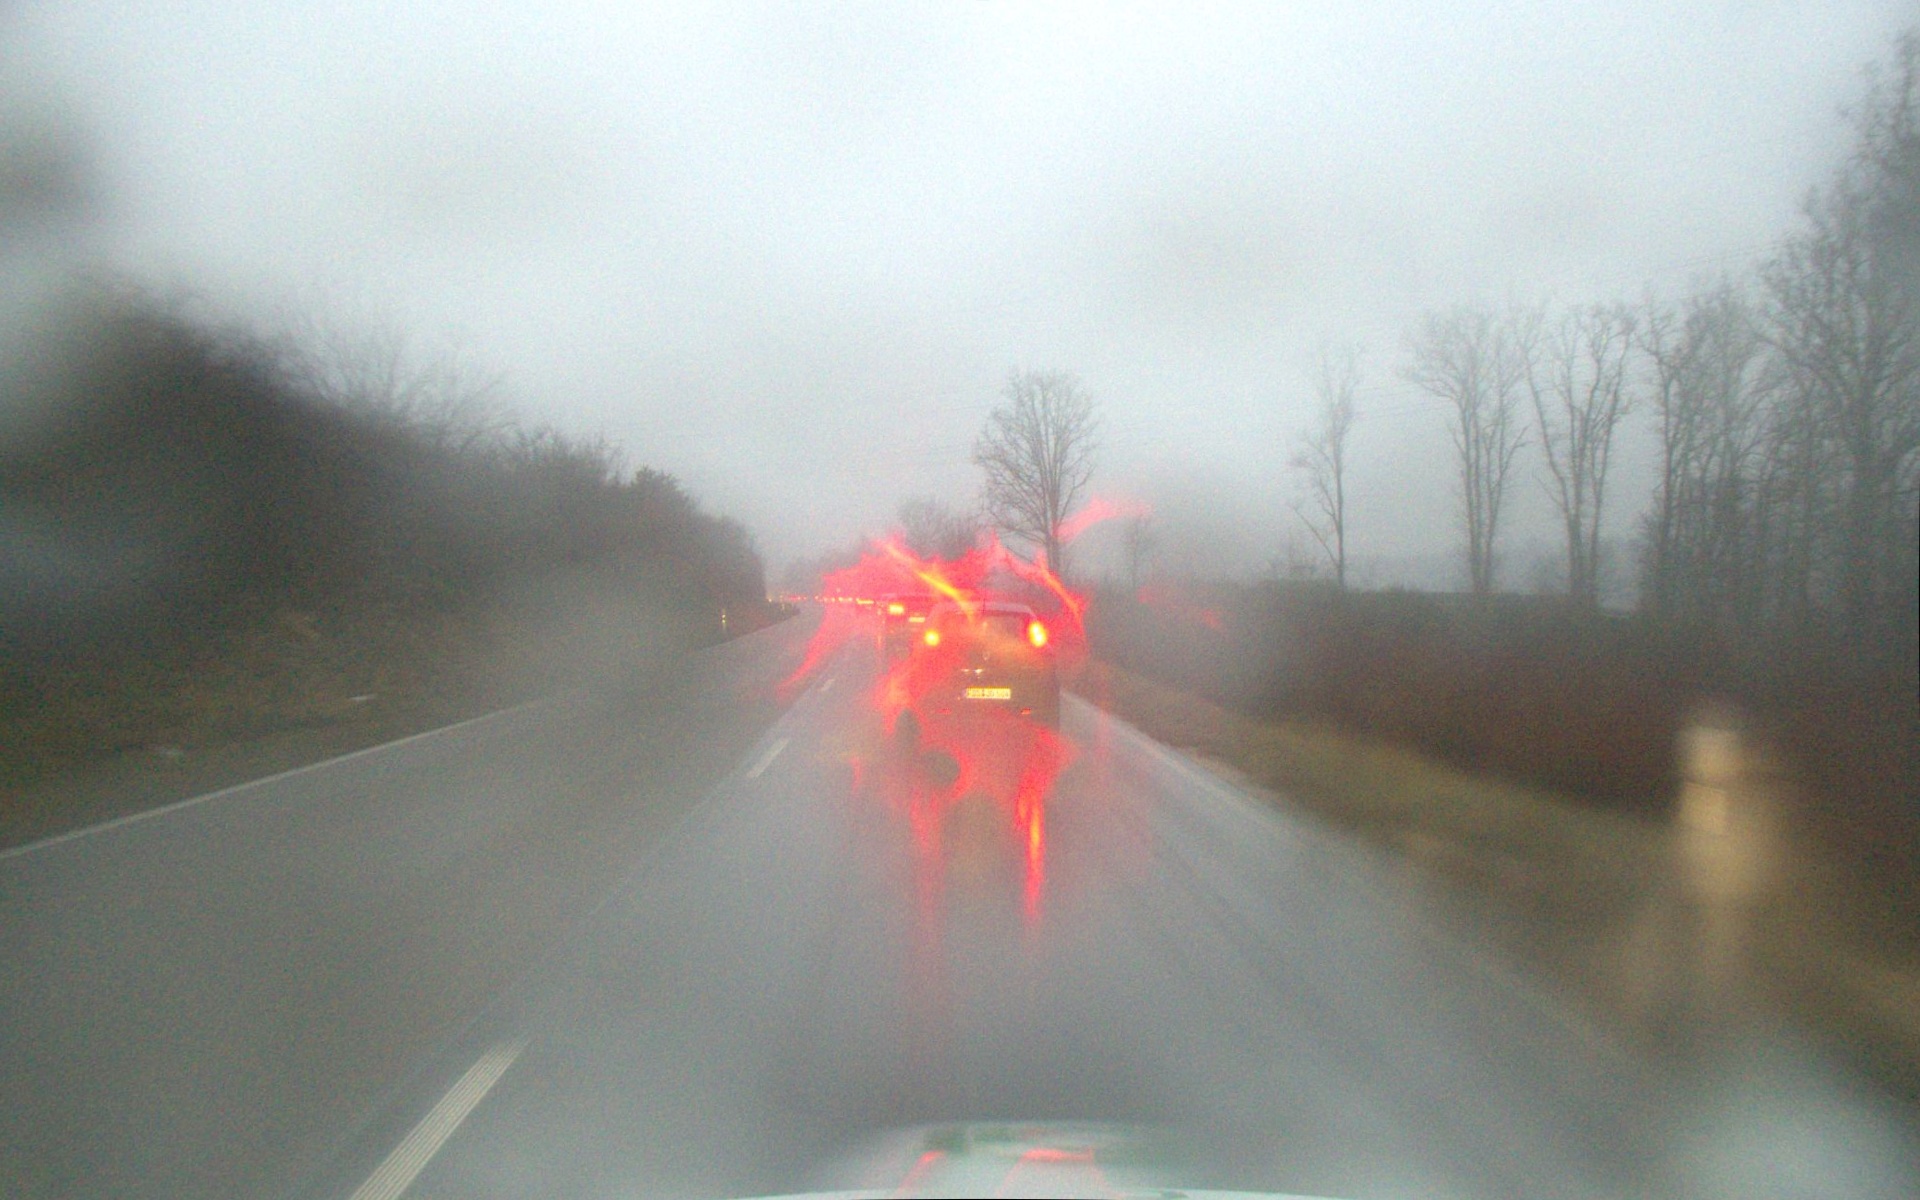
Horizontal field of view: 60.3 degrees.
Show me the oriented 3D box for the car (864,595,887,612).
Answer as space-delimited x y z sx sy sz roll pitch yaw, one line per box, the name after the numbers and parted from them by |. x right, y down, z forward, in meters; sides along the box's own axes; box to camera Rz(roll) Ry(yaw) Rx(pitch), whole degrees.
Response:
-6.999 0.287 137.094 1.515 1.421 3.870 1 0 2 | car

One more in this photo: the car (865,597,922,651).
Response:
-1.831 0.629 45.860 1.516 1.421 3.868 1 0 -2 | car

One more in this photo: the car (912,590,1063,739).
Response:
0.308 0.672 19.328 1.569 1.549 3.869 1 0 1 | car
